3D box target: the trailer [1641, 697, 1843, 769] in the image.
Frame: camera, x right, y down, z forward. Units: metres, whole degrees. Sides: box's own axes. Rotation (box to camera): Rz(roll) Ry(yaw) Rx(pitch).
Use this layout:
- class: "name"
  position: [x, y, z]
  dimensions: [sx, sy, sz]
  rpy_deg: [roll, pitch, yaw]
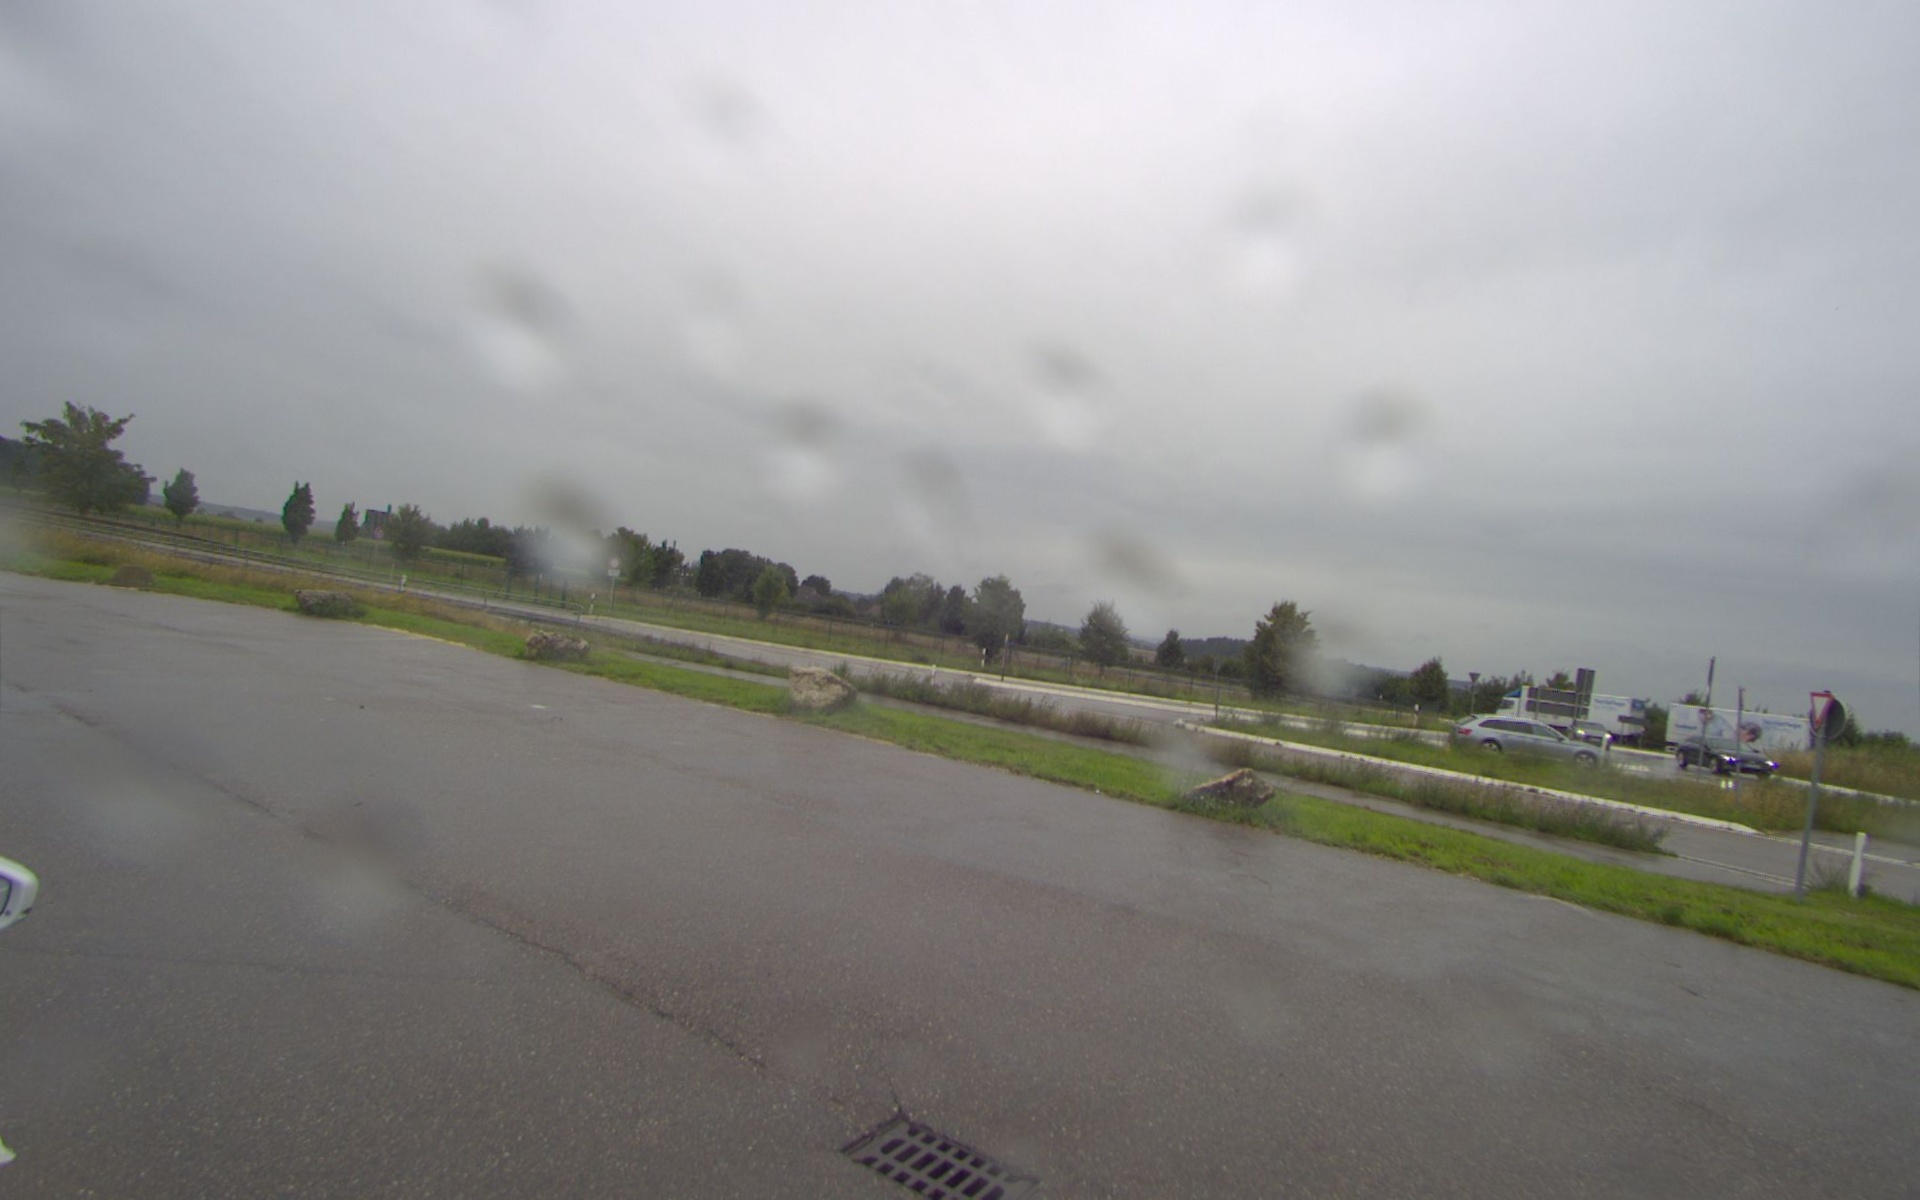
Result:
- class: "trailer"
  position: [50.597, 8.579, 65.521]
  dimensions: [9.994, 2.935, 2.200]
  rpy_deg: [7, -2, 39]

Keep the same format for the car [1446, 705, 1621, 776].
- class: "car"
  position: [19.035, 4.636, 33.630]
  dimensions: [4.574, 1.500, 2.000]
  rpy_deg: [7, 0, 15]

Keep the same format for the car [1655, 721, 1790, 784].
- class: "car"
  position: [30.683, 6.076, 40.689]
  dimensions: [1.857, 1.705, 4.670]
  rpy_deg: [6, 0, 2]

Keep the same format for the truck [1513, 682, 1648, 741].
- class: "truck"
  position: [44.235, 7.888, 71.981]
  dimensions: [2.167, 2.941, 7.711]
  rpy_deg: [9, -2, -37]

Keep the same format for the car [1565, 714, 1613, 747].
- class: "car"
  position: [35.484, 7.339, 56.830]
  dimensions: [1.726, 1.341, 4.304]
  rpy_deg: [6, 0, 27]
